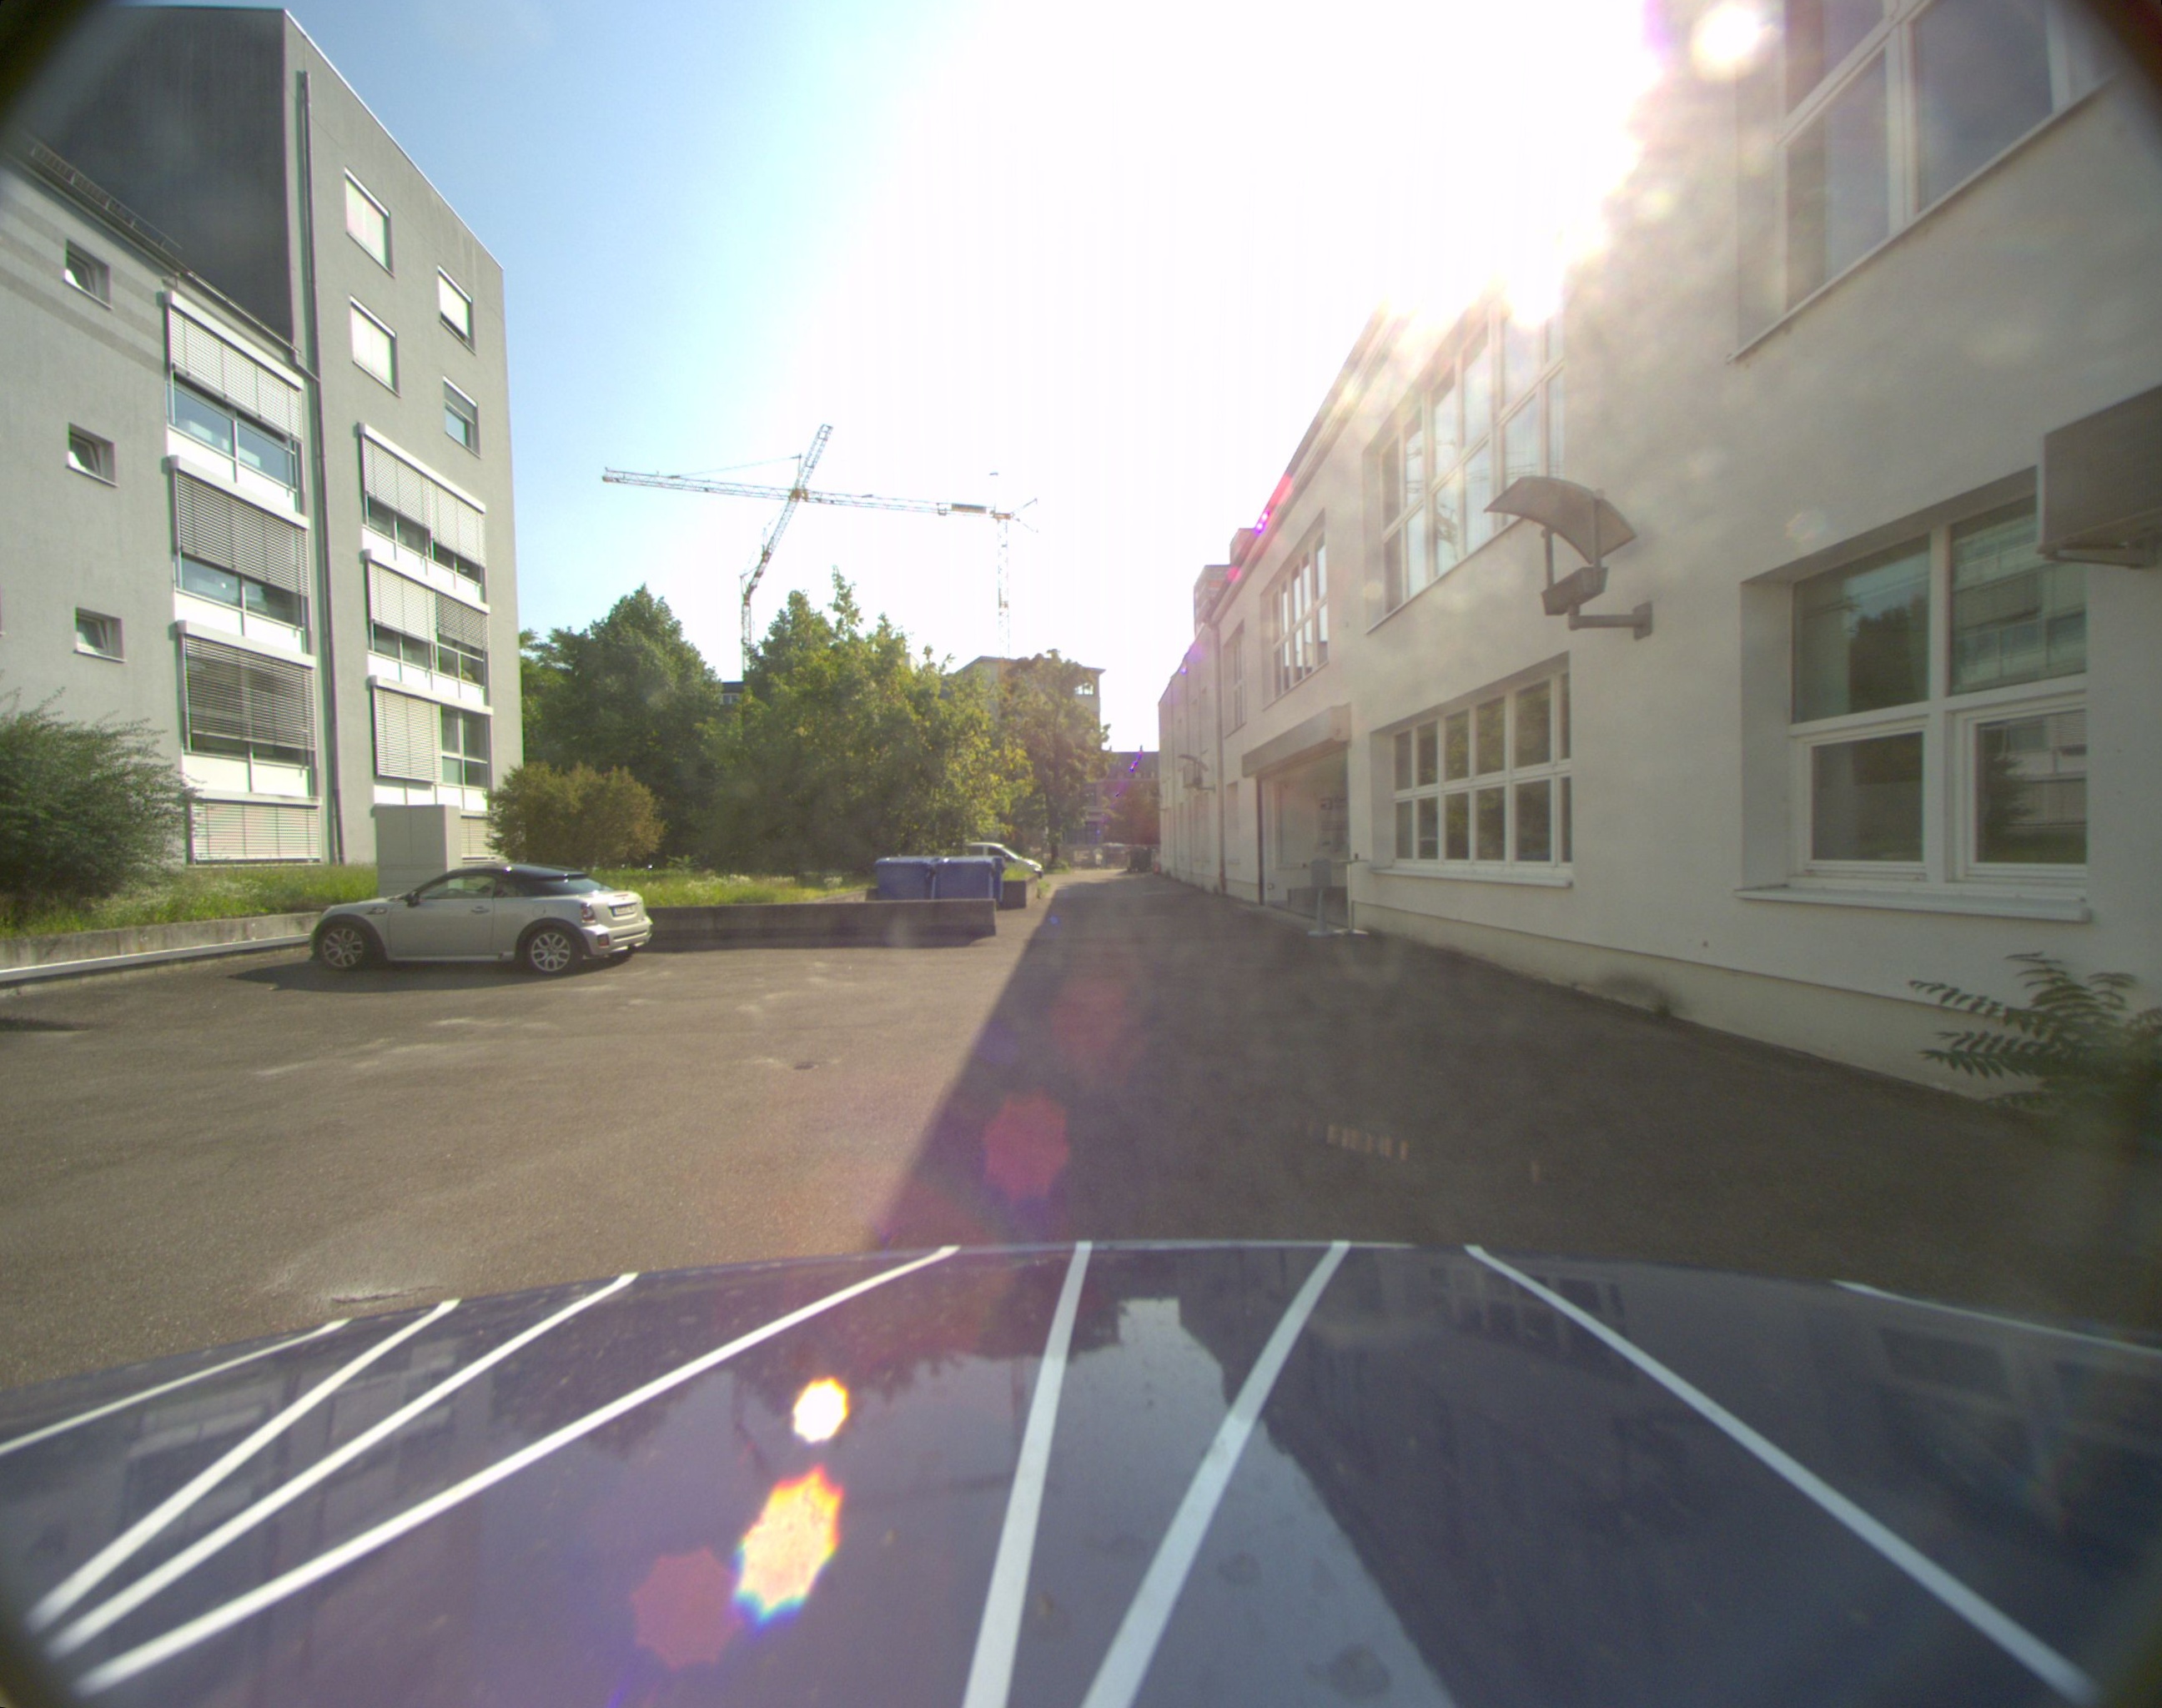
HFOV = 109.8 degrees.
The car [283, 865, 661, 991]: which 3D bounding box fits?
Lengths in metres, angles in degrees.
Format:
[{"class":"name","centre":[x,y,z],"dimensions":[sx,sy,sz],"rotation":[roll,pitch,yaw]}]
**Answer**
[{"class":"car","centre":[-7.858,0.905,10.090],"dimensions":[3.580,1.429,1.658],"rotation":[-1,1,-3]}]

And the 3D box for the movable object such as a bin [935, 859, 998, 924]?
[{"class":"movable object such as a bin","centre":[-2.527,0.811,17.002],"dimensions":[1.214,1.343,1.275],"rotation":[-1,1,-1]}]

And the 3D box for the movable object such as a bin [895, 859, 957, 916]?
[{"class":"movable object such as a bin","centre":[-3.761,0.797,18.605],"dimensions":[1.199,1.320,1.275],"rotation":[-1,1,1]}]

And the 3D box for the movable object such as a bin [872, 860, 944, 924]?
[{"class":"movable object such as a bin","centre":[-3.849,0.832,17.051],"dimensions":[1.257,1.320,1.275],"rotation":[-1,1,1]}]

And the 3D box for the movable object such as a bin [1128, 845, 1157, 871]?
[{"class":"movable object such as a bin","centre":[3.510,0.229,43.501],"dimensions":[1.524,1.457,1.275],"rotation":[-1,1,0]}]

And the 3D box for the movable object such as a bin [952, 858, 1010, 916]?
[{"class":"movable object such as a bin","centre":[-2.430,0.783,18.585],"dimensions":[1.199,1.320,1.275],"rotation":[-1,1,1]}]

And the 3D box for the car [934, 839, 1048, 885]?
[{"class":"car","centre":[-3.979,0.352,34.080],"dimensions":[4.789,1.920,1.909],"rotation":[-1,1,2]}]
